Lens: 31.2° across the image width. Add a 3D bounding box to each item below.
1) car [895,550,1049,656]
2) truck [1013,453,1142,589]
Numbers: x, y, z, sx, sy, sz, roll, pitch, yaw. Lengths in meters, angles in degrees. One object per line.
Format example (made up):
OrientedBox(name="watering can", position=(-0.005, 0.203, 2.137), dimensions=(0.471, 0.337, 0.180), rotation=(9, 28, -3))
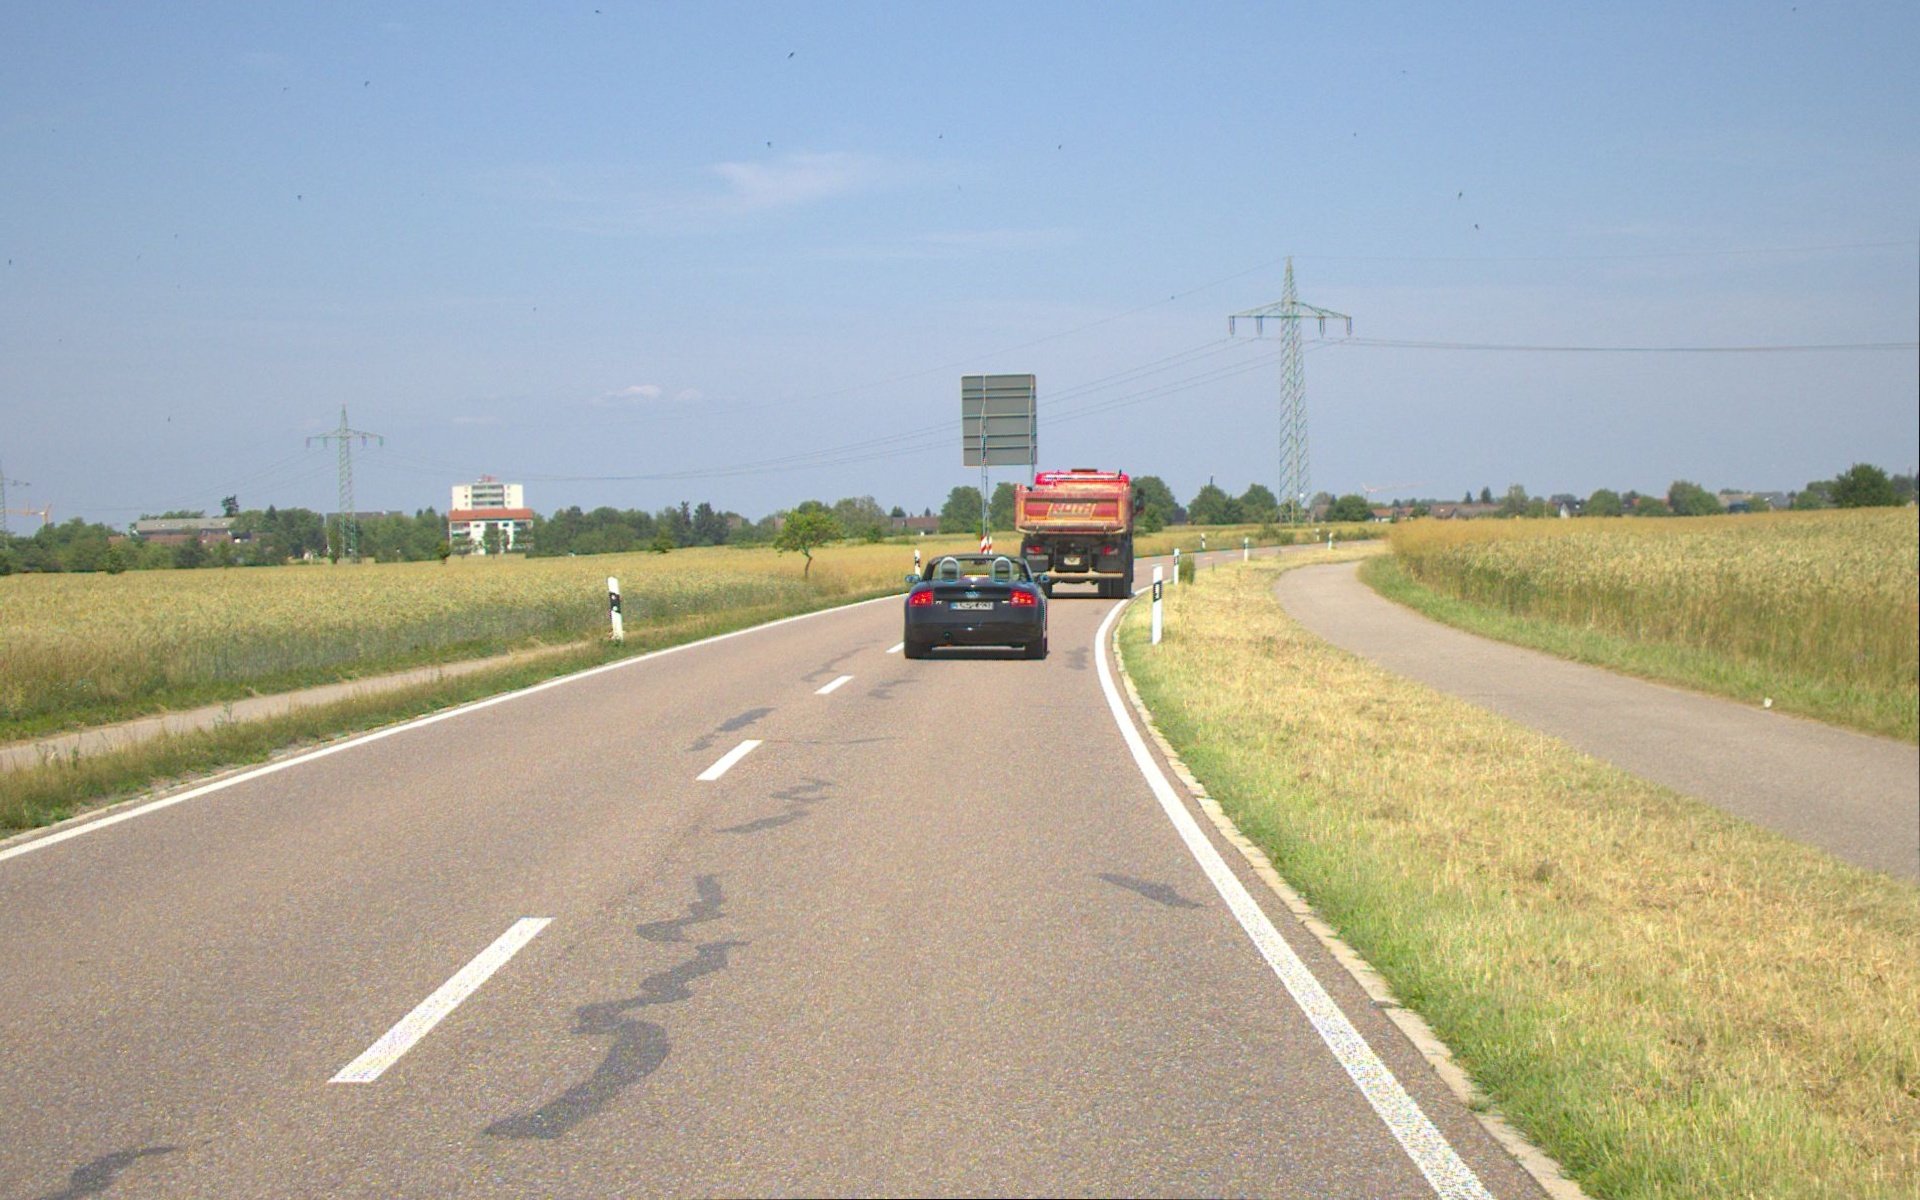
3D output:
OrientedBox(name="car", position=(0.192, 0.020, 43.620), dimensions=(1.744, 1.275, 4.000), rotation=(0, 1, 3))
OrientedBox(name="truck", position=(2.857, -1.838, 82.177), dimensions=(2.938, 3.078, 7.195), rotation=(0, 0, 3))
